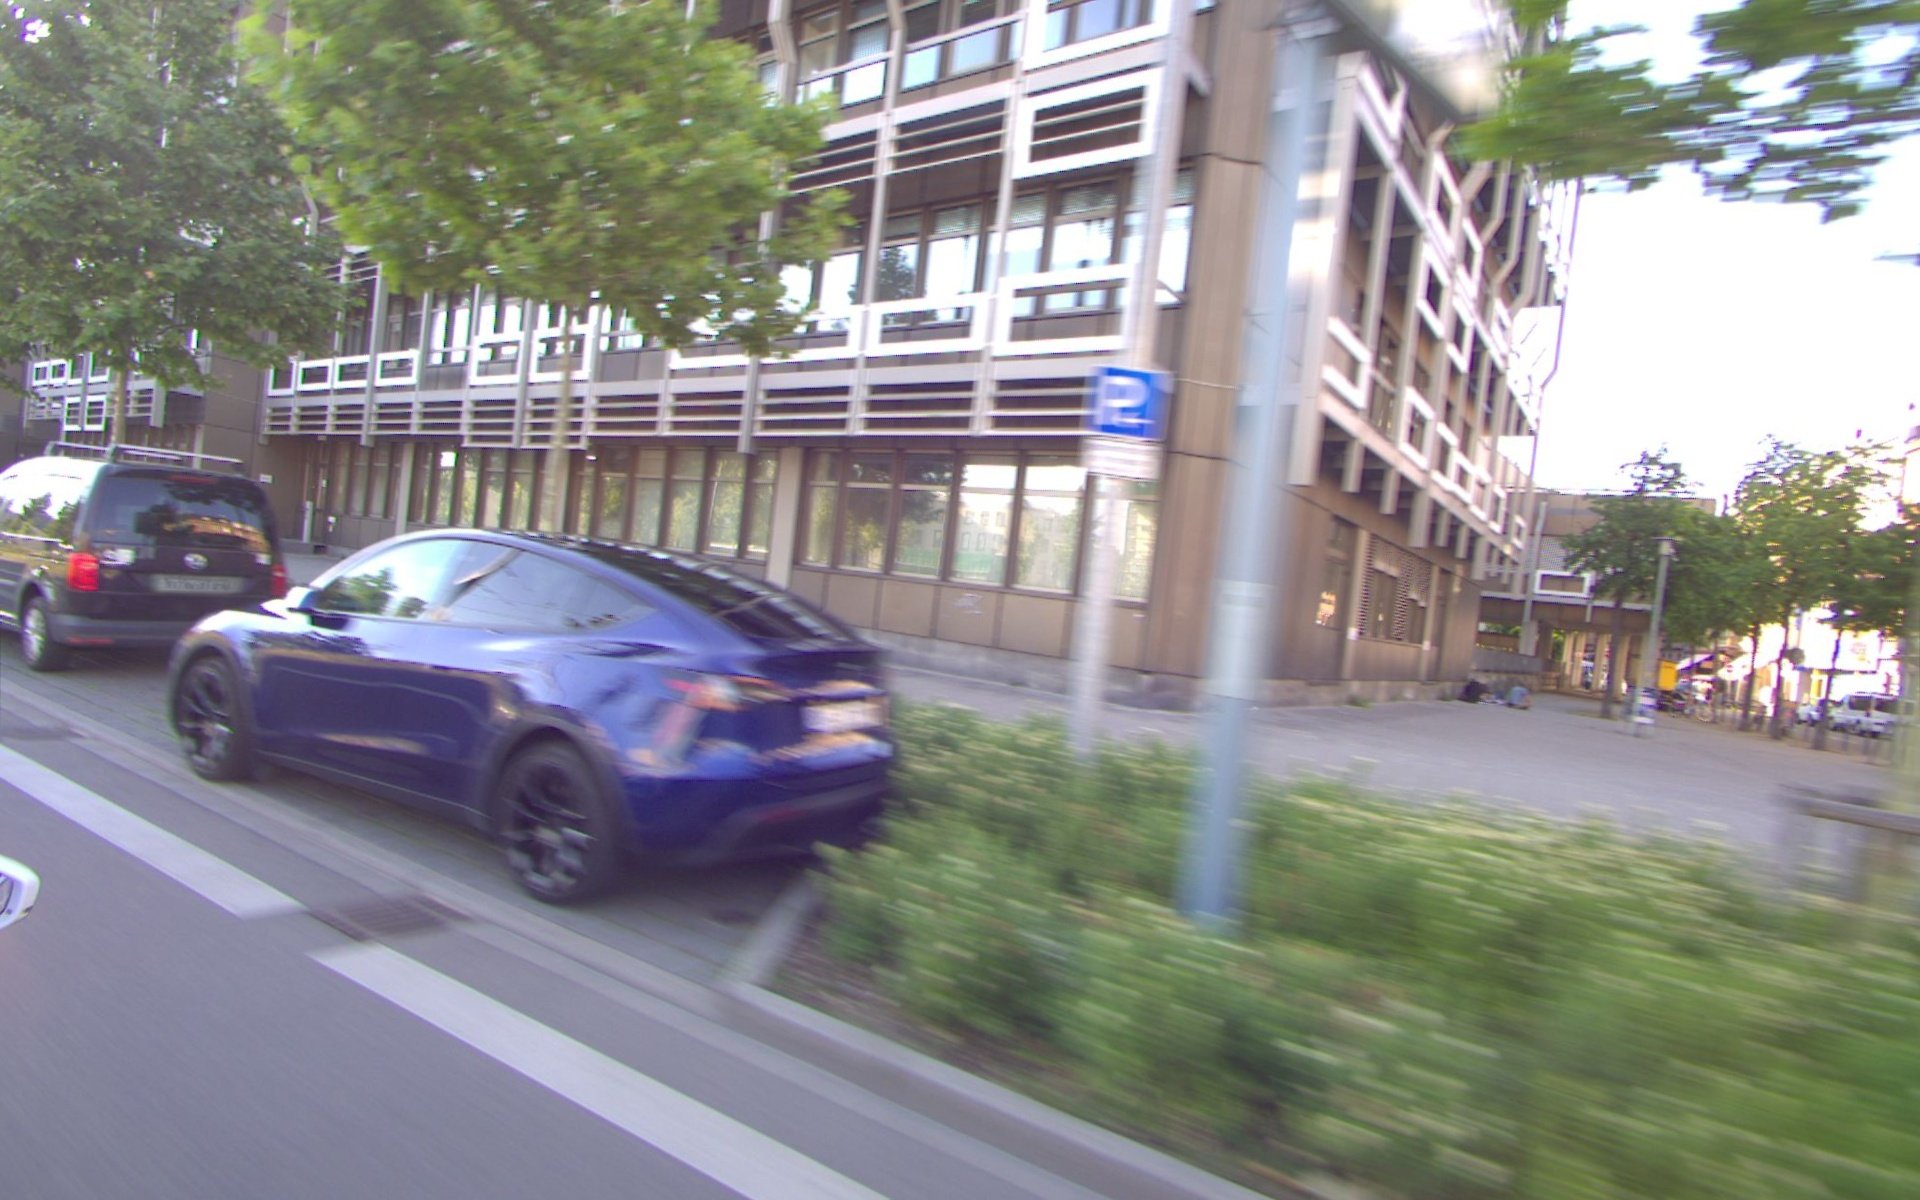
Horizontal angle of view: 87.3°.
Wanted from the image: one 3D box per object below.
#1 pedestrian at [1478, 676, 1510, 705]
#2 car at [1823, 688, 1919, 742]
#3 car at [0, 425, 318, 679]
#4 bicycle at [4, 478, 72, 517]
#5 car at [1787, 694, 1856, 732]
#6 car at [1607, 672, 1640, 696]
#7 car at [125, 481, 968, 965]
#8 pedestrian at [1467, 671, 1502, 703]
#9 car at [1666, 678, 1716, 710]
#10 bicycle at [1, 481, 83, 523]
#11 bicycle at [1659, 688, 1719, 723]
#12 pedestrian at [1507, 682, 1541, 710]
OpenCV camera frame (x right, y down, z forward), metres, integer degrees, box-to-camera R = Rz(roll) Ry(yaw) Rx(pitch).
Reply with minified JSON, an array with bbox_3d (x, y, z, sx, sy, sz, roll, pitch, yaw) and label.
[{"bbox_3d":[16.958,2.872,31.956,0.590,0.831,0.542,7,1,-6],"label":"pedestrian"},{"bbox_3d":[42.327,5.287,46.787,2.022,2.004,4.042,6,0,23],"label":"car"},{"bbox_3d":[-8.263,-0.567,9.698,4.320,1.945,1.735,8,3,32],"label":"car"},{"bbox_3d":[-31.567,-3.489,34.449,0.386,1.096,1.626,8,2,36],"label":"bicycle"},{"bbox_3d":[45.008,5.873,52.646,1.628,1.630,3.377,6,0,23],"label":"car"},{"bbox_3d":[49.278,6.231,74.783,1.346,1.517,2.952,8,1,22],"label":"car"},{"bbox_3d":[-2.506,0.378,5.818,4.617,1.620,1.933,7,3,28],"label":"car"},{"bbox_3d":[16.203,2.682,31.083,0.702,0.831,0.557,7,1,-6],"label":"pedestrian"},{"bbox_3d":[45.195,5.795,62.252,1.628,1.630,3.378,6,0,22],"label":"car"},{"bbox_3d":[-29.919,-3.171,32.810,0.385,1.107,1.901,7,2,29],"label":"bicycle"},{"bbox_3d":[28.879,4.169,39.879,0.577,1.056,1.916,6,1,-15],"label":"bicycle"},{"bbox_3d":[17.004,2.885,30.346,0.710,0.736,0.439,7,1,-14],"label":"pedestrian"}]
